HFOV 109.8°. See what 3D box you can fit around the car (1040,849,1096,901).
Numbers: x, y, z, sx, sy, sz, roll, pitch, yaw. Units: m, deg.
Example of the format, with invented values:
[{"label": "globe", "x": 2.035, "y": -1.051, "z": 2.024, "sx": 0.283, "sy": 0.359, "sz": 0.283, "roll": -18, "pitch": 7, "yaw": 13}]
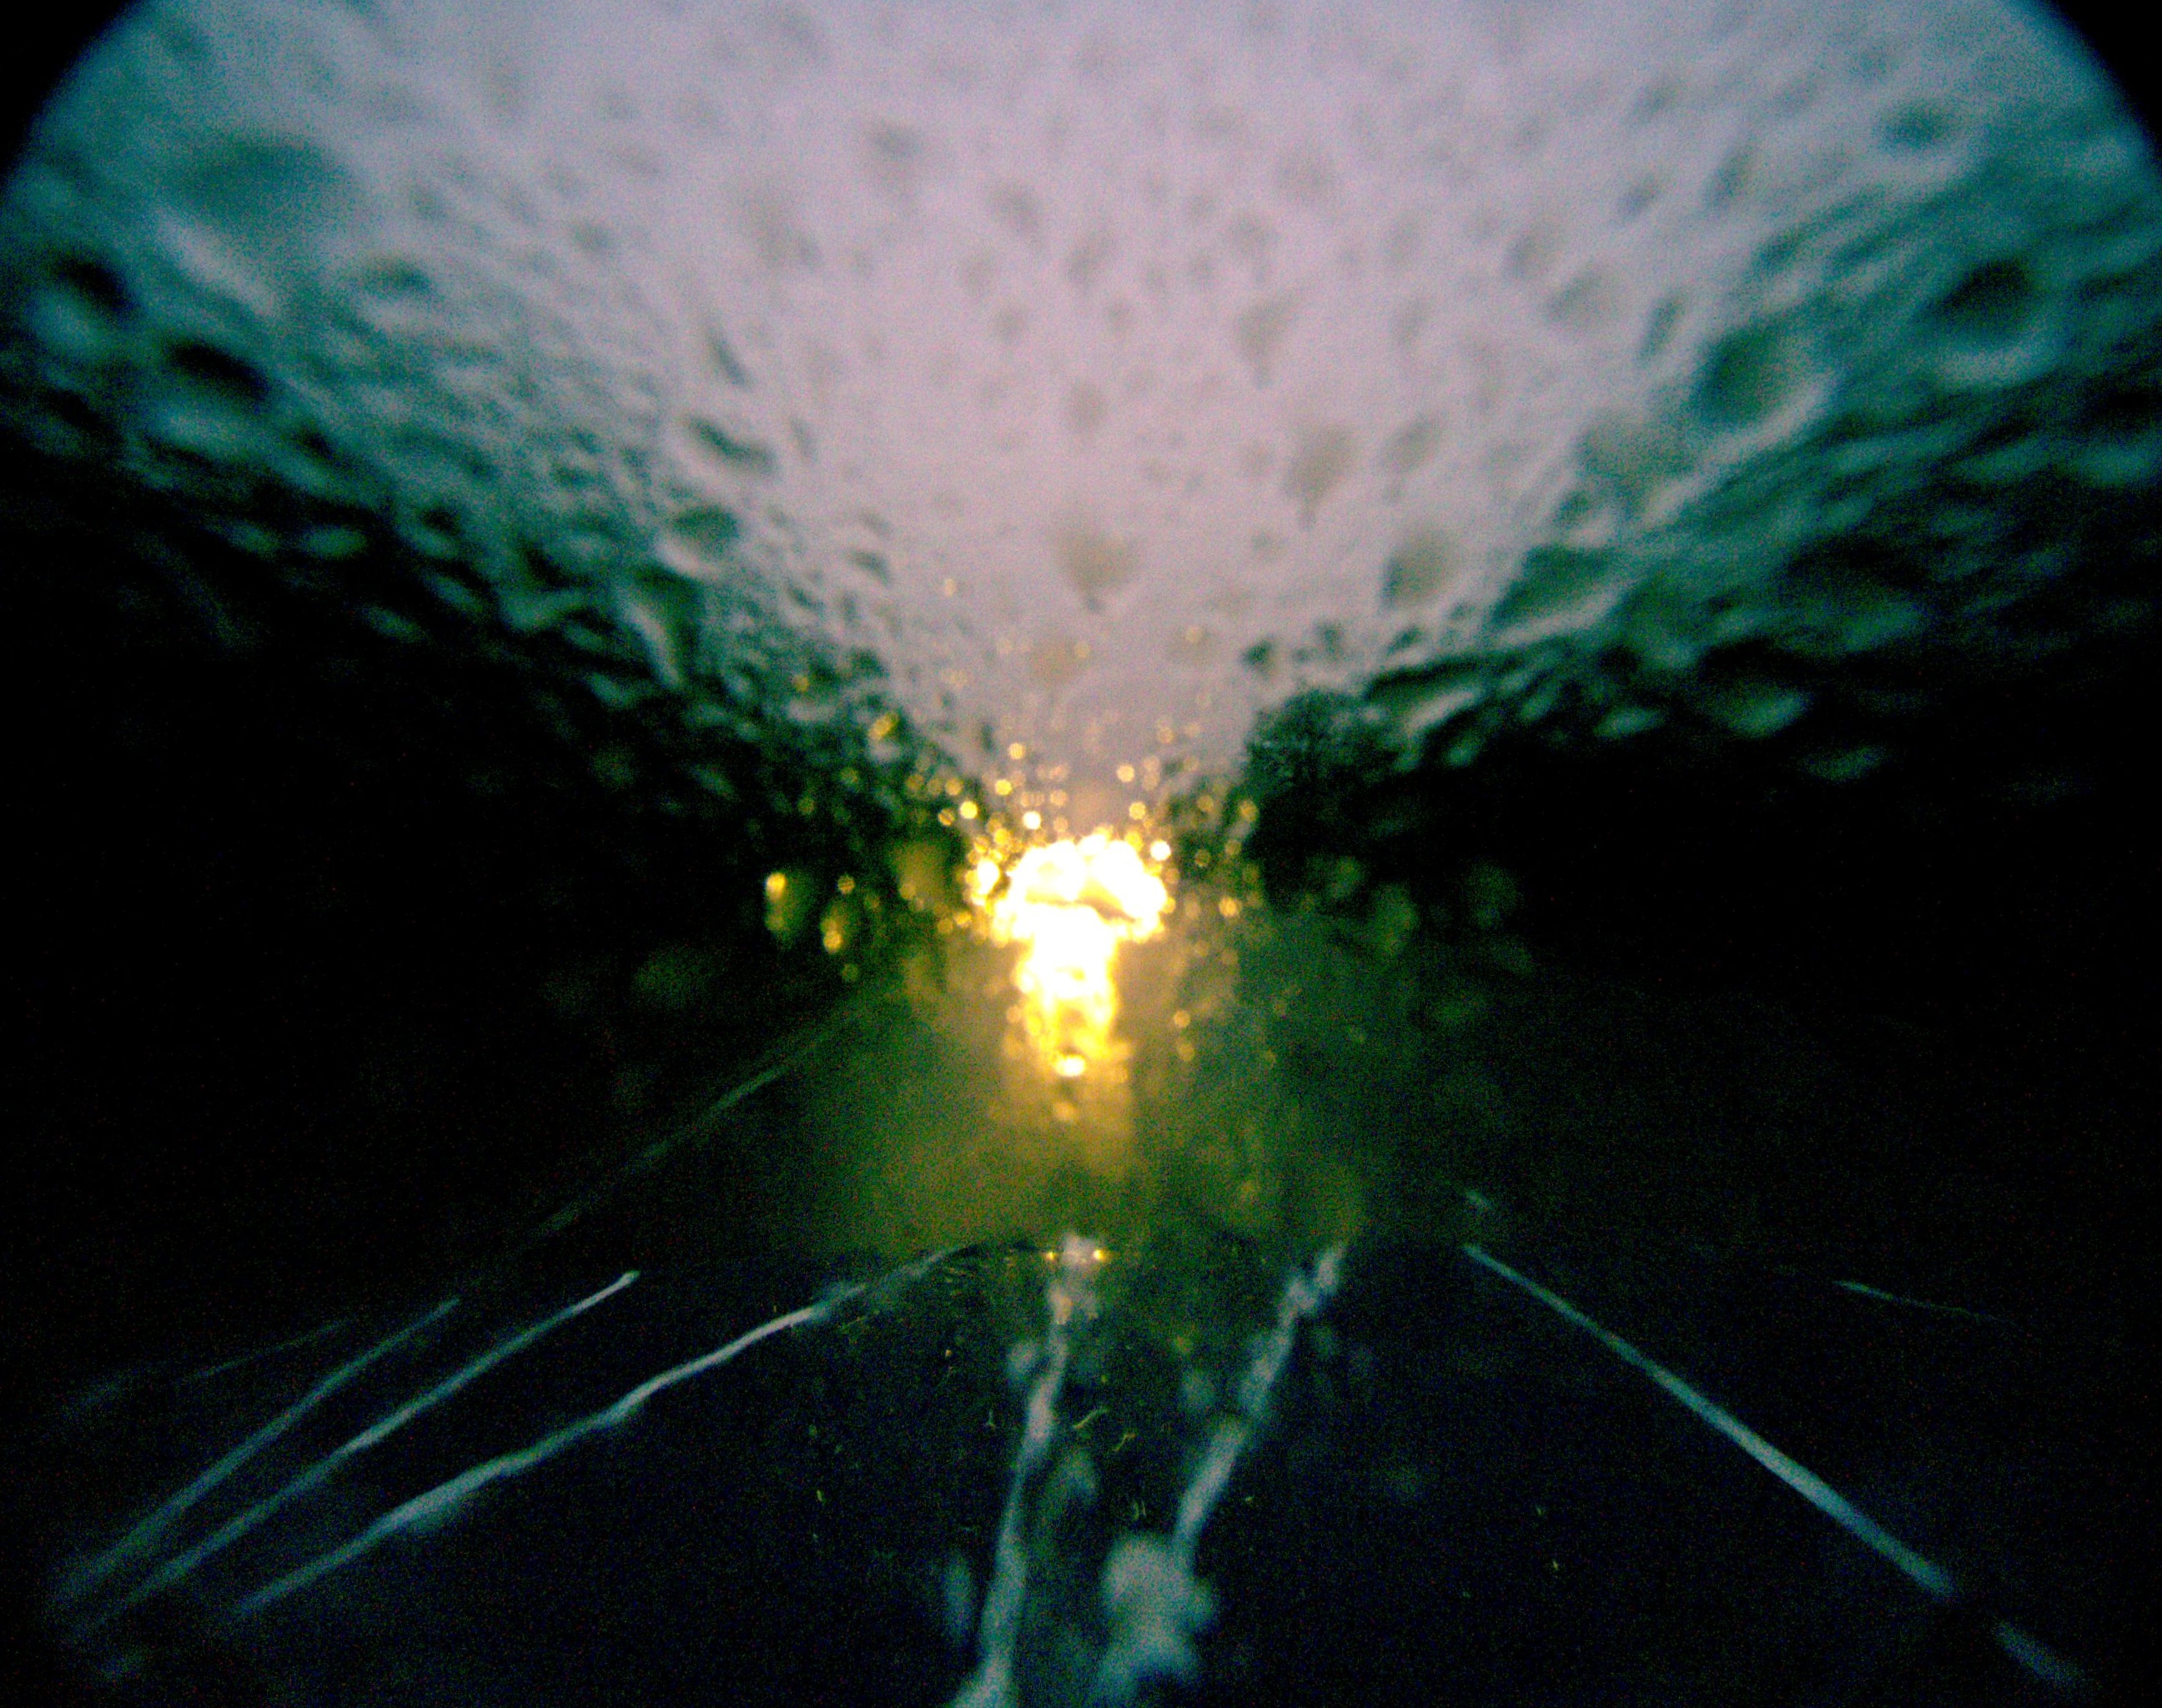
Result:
[{"label": "car", "x": -0.395, "y": 0.680, "z": 27.381, "sx": 1.572, "sy": 1.701, "sz": 4.001, "roll": -1, "pitch": 0, "yaw": 5}]
